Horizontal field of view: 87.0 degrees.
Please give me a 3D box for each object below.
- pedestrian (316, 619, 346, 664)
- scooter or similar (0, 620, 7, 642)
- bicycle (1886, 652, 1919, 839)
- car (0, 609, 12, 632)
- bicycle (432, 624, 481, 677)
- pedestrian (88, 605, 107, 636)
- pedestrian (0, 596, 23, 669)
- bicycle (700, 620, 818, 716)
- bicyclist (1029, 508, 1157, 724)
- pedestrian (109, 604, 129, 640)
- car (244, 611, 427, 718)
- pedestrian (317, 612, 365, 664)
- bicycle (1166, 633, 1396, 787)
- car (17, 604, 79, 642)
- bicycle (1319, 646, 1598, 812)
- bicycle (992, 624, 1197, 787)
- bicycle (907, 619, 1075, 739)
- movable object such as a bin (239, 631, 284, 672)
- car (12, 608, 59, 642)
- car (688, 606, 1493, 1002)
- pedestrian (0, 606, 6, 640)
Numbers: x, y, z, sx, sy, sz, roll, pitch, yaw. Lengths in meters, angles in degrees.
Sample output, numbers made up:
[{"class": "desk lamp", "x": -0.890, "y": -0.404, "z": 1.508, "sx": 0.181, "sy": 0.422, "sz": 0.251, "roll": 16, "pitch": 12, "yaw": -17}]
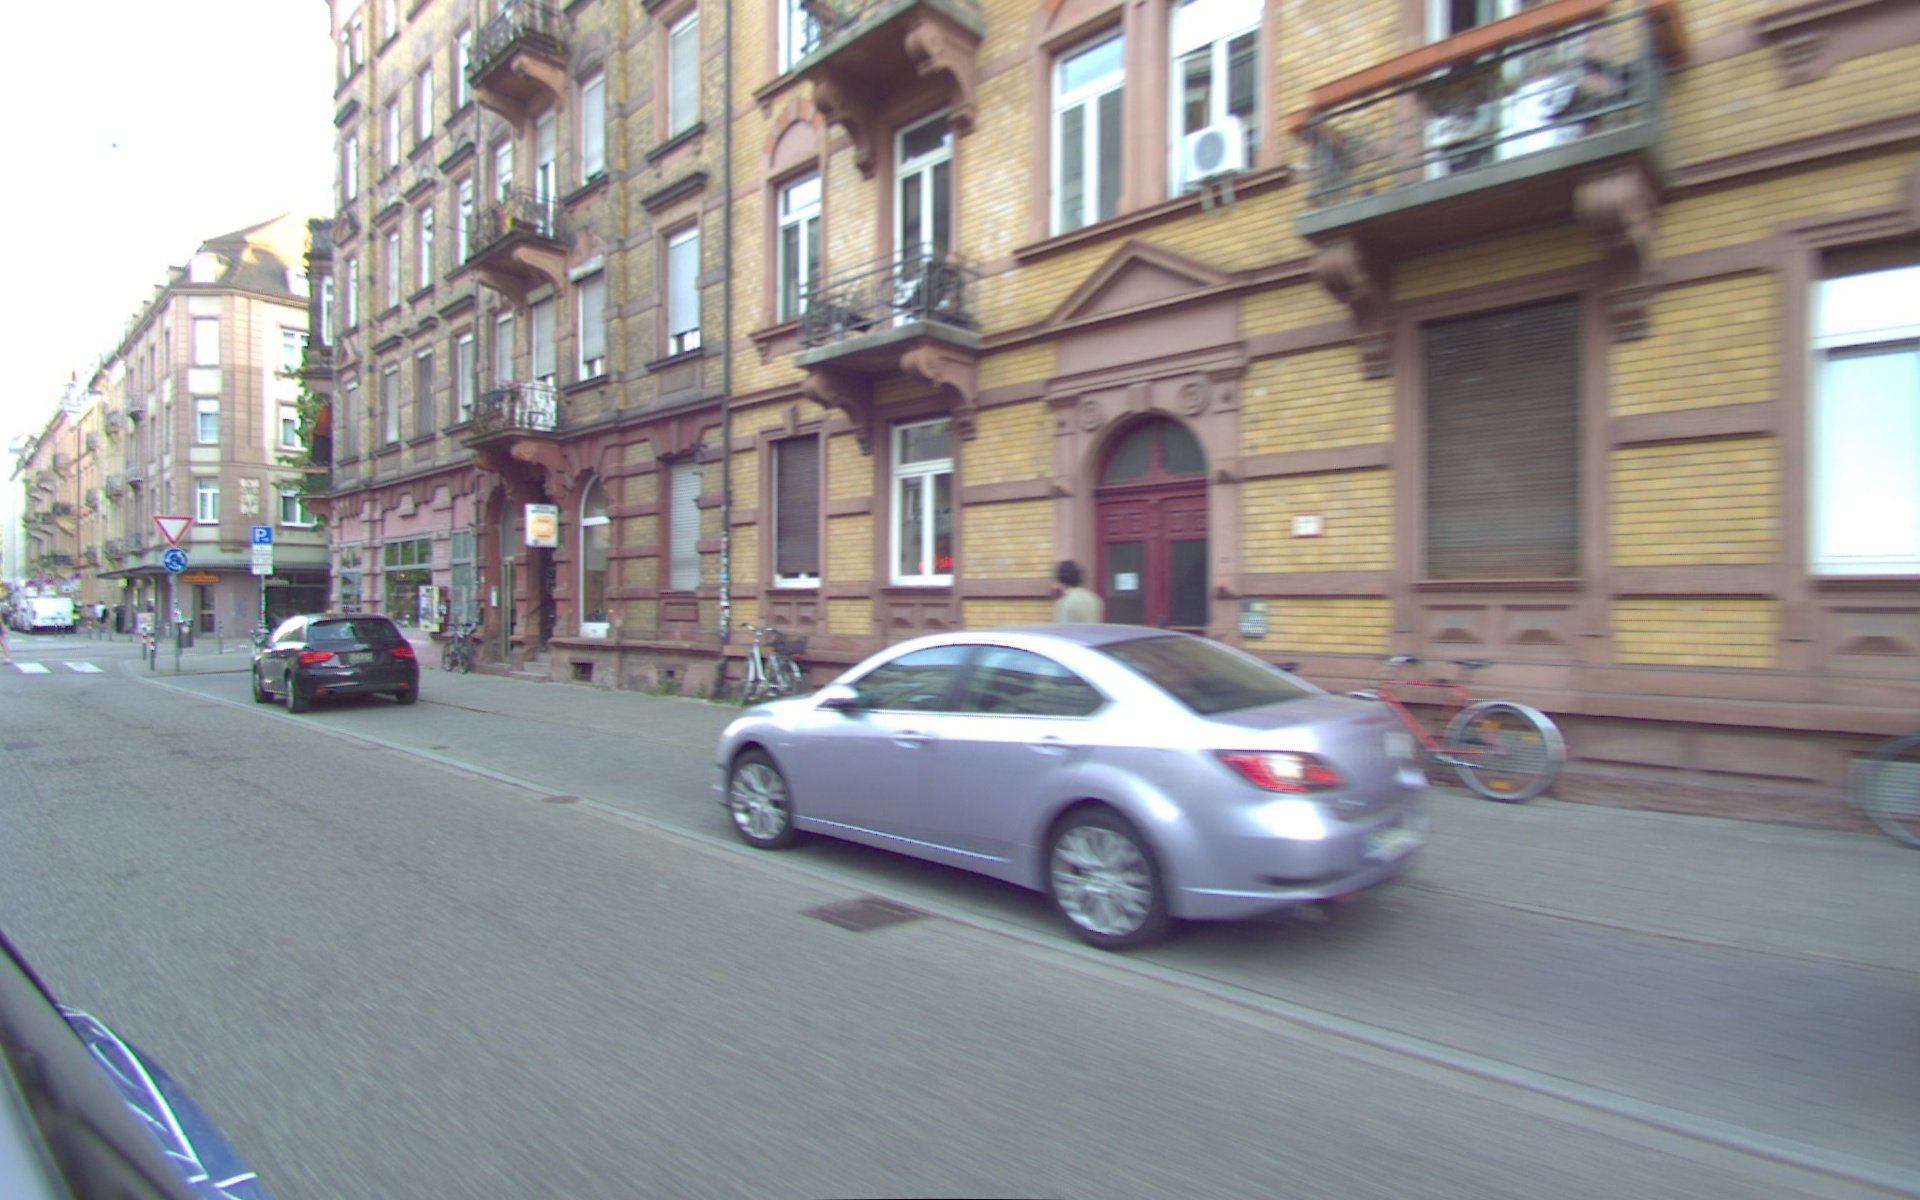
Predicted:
[{"class": "pedestrian", "x": -16.673, "y": 1.084, "z": 26.831, "sx": 0.497, "sy": 1.152, "sz": 0.792, "roll": 0, "pitch": 1, "yaw": -45}, {"class": "scooter or similar", "x": -48.537, "y": 1.544, "z": 50.798, "sx": 1.170, "sy": 1.112, "sz": 0.800, "roll": -1, "pitch": -2, "yaw": 36}, {"class": "bicycle", "x": 6.211, "y": 0.837, "z": 5.404, "sx": 1.848, "sy": 1.030, "sz": 0.444, "roll": -1, "pitch": 3, "yaw": 44}, {"class": "car", "x": -80.405, "y": 1.722, "z": 84.151, "sx": 4.542, "sy": 1.835, "sz": 2.112, "roll": -1, "pitch": 0, "yaw": 44}, {"class": "bicycle", "x": -10.681, "y": 1.046, "z": 21.445, "sx": 0.420, "sy": 1.061, "sz": 1.900, "roll": 0, "pitch": 0, "yaw": -43}, {"class": "pedestrian", "x": -48.866, "y": 1.157, "z": 57.356, "sx": 0.738, "sy": 1.757, "sz": 1.214, "roll": -1, "pitch": 0, "yaw": -43}, {"class": "pedestrian", "x": -24.570, "y": 0.839, "z": 25.698, "sx": 1.032, "sy": 1.825, "sz": 0.757, "roll": -1, "pitch": -2, "yaw": -36}, {"class": "bicycle", "x": -2.741, "y": 0.873, "z": 13.655, "sx": 0.521, "sy": 1.180, "sz": 2.049, "roll": -2, "pitch": 1, "yaw": -43}, {"class": "bicyclist", "x": 1.139, "y": 0.125, "z": 8.731, "sx": 0.699, "sy": 1.742, "sz": 0.844, "roll": 0, "pitch": 1, "yaw": -40}, {"class": "pedestrian", "x": -43.652, "y": 1.140, "z": 52.525, "sx": 0.644, "sy": 1.792, "sz": 0.694, "roll": -1, "pitch": -1, "yaw": -28}, {"class": "car", "x": -9.899, "y": 0.925, "z": 15.921, "sx": 1.674, "sy": 1.431, "sz": 3.857, "roll": -1, "pitch": 0, "yaw": -44}, {"class": "pedestrian", "x": -15.952, "y": 0.981, "z": 26.089, "sx": 0.904, "sy": 1.264, "sz": 0.644, "roll": -2, "pitch": 2, "yaw": 28}, {"class": "bicycle", "x": 2.660, "y": 0.864, "z": 8.533, "sx": 1.760, "sy": 1.132, "sz": 0.543, "roll": -1, "pitch": 1, "yaw": 44}, {"class": "car", "x": -50.830, "y": 1.245, "z": 56.385, "sx": 4.769, "sy": 1.973, "sz": 2.113, "roll": -1, "pitch": 0, "yaw": 42}, {"class": "bicycle", "x": 3.667, "y": 0.897, "z": 7.555, "sx": 1.760, "sy": 1.045, "sz": 0.543, "roll": -1, "pitch": 1, "yaw": 44}, {"class": "bicycle", "x": 1.116, "y": 0.839, "z": 8.753, "sx": 0.699, "sy": 1.205, "sz": 1.744, "roll": 0, "pitch": 1, "yaw": -40}, {"class": "bicycle", "x": 0.308, "y": 0.783, "z": 10.570, "sx": 1.608, "sy": 1.132, "sz": 0.731, "roll": -1, "pitch": 0, "yaw": 37}, {"class": "movable object such as a bin", "x": -17.092, "y": 1.250, "z": 24.768, "sx": 0.729, "sy": 0.922, "sz": 0.753, "roll": 1, "pitch": 1, "yaw": 40}, {"class": "car", "x": -55.332, "y": 1.453, "z": 60.554, "sx": 4.328, "sy": 1.918, "sz": 1.853, "roll": -1, "pitch": 0, "yaw": 44}, {"class": "car", "x": 0.390, "y": 0.777, "z": 5.963, "sx": 4.583, "sy": 1.431, "sz": 1.704, "roll": 0, "pitch": 1, "yaw": 44}, {"class": "pedestrian", "x": -48.537, "y": 1.156, "z": 50.807, "sx": 0.671, "sy": 1.672, "sz": 0.800, "roll": -1, "pitch": -2, "yaw": 36}]
